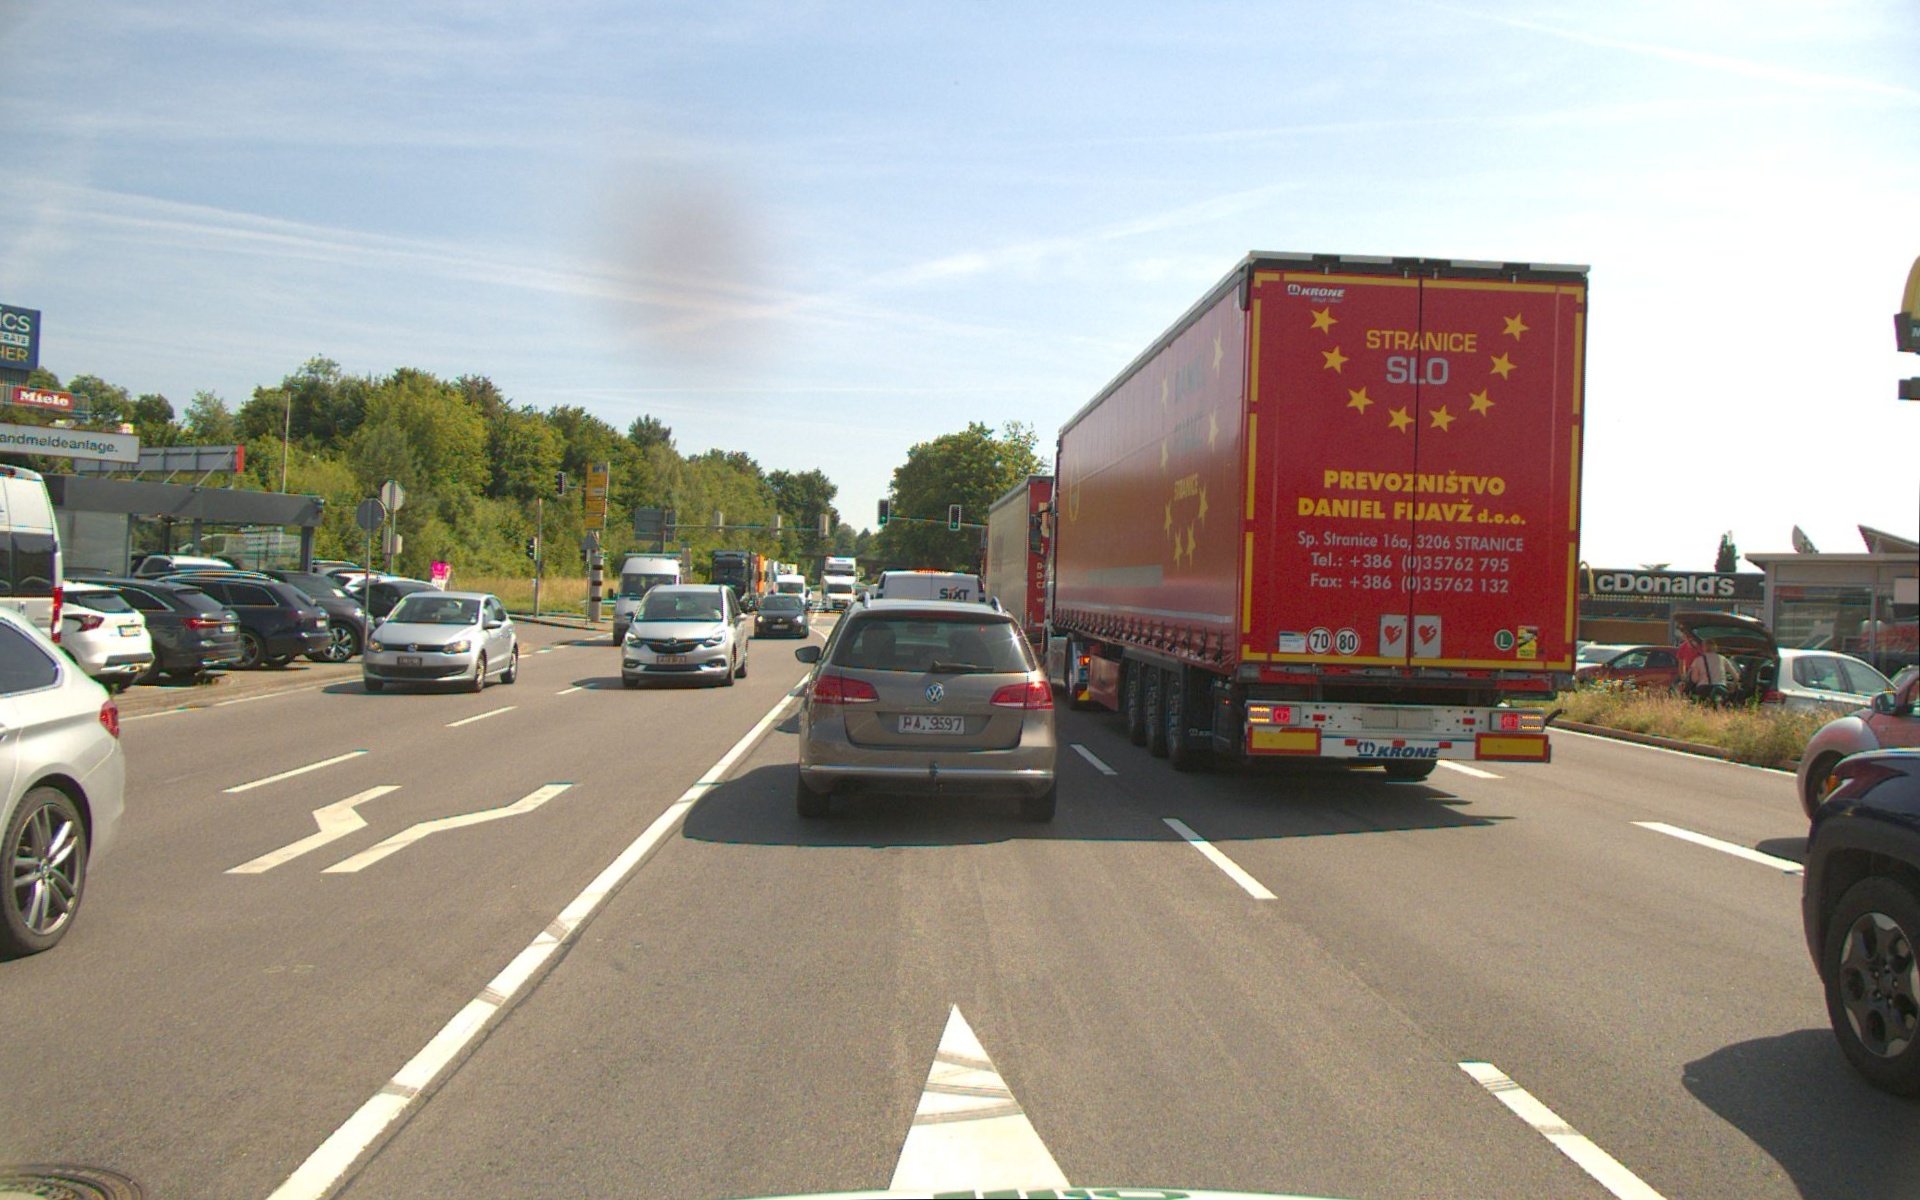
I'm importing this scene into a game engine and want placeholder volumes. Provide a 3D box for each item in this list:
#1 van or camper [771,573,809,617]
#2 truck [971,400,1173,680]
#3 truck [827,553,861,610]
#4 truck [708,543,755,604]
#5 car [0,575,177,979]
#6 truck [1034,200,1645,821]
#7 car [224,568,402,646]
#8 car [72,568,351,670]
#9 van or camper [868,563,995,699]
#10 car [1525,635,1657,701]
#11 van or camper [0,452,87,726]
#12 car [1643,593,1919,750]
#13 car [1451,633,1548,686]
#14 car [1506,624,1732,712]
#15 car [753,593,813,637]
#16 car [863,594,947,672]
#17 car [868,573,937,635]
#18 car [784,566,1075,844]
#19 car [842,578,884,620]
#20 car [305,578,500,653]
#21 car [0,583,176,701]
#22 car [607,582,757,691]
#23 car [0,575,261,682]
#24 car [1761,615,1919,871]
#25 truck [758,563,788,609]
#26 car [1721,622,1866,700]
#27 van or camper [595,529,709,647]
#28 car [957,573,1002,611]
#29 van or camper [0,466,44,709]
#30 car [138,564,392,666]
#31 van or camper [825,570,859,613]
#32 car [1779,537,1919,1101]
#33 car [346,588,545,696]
[{"bbox_3d":[-10.707,-0.318,104.363,2.130,2.596,4.168,2,0,-3],"label":"van or camper"},{"bbox_3d":[2.228,-1.199,40.511,3.001,5.312,16.999,2,0,-2],"label":"truck"},{"bbox_3d":[-9.243,-1.465,132.603,2.501,4.383,7.592,0,0,-2],"label":"truck"},{"bbox_3d":[-14.867,-1.715,107.961,2.759,3.852,6.981,0,0,-6],"label":"truck"},{"bbox_3d":[-4.585,0.666,5.344,1.870,1.548,4.780,1,0,-1],"label":"car"},{"bbox_3d":[3.105,-0.664,20.114,2.898,4.344,16.576,2,0,-2],"label":"truck"},{"bbox_3d":[-15.102,0.144,38.610,3.743,1.723,1.840,1,0,27],"label":"car"},{"bbox_3d":[-12.266,0.309,27.296,3.740,1.566,1.841,1,0,-3],"label":"car"},{"bbox_3d":[-0.504,0.452,26.219,1.815,1.939,3.782,2,0,-3],"label":"van or camper"},{"bbox_3d":[16.462,1.742,43.064,1.710,1.562,4.008,2,0,45],"label":"car"},{"bbox_3d":[-12.294,-0.179,17.216,5.139,2.779,2.210,2,0,-1],"label":"van or camper"},{"bbox_3d":[11.306,0.946,22.459,3.788,1.954,1.688,2,0,-27],"label":"car"},{"bbox_3d":[17.155,1.856,52.494,1.705,1.562,4.020,2,0,37],"label":"car"},{"bbox_3d":[13.566,1.368,34.245,1.973,1.558,3.959,2,0,-31],"label":"car"},{"bbox_3d":[-5.896,0.473,55.441,1.632,1.434,3.925,0,0,-1],"label":"car"},{"bbox_3d":[-1.186,0.701,35.905,1.692,1.545,3.311,2,-1,-2],"label":"car"},{"bbox_3d":[-1.523,0.129,44.647,1.691,1.545,3.312,2,-1,0],"label":"car"},{"bbox_3d":[-0.153,0.639,11.824,1.753,1.667,3.504,1,0,1],"label":"car"},{"bbox_3d":[-4.645,-0.031,79.428,1.691,1.942,3.312,2,-1,1],"label":"car"},{"bbox_3d":[-13.775,0.364,40.843,4.428,1.723,2.128,1,0,29],"label":"car"},{"bbox_3d":[-12.727,0.520,21.953,3.740,1.473,1.841,1,0,-3],"label":"car"},{"bbox_3d":[-4.602,0.567,27.945,1.870,1.692,4.180,0,0,-1],"label":"car"},{"bbox_3d":[-12.607,0.404,24.455,3.740,1.473,1.841,1,0,-3],"label":"car"},{"bbox_3d":[6.535,0.869,9.516,1.627,1.497,3.995,1,0,-6],"label":"car"},{"bbox_3d":[-16.357,-1.226,144.879,2.484,3.852,6.981,0,0,-6],"label":"truck"},{"bbox_3d":[18.678,1.341,36.999,1.964,1.558,3.977,2,0,41],"label":"car"},{"bbox_3d":[-9.035,-0.339,49.079,2.163,3.108,5.901,5,0,-1],"label":"van or camper"},{"bbox_3d":[0.821,-0.322,70.588,1.692,1.545,3.310,2,-1,-3],"label":"car"},{"bbox_3d":[-14.407,-0.227,19.556,5.773,2.923,2.289,2,1,-2],"label":"van or camper"},{"bbox_3d":[-12.382,0.256,29.650,3.740,1.704,1.841,1,0,-3],"label":"car"},{"bbox_3d":[-8.405,-0.570,117.945,2.179,2.890,5.708,2,-1,-2],"label":"van or camper"},{"bbox_3d":[3.835,0.681,3.884,1.782,1.714,3.999,1,0,-1],"label":"car"},{"bbox_3d":[-7.733,0.585,25.250,1.799,1.473,4.080,1,0,-1],"label":"car"}]
